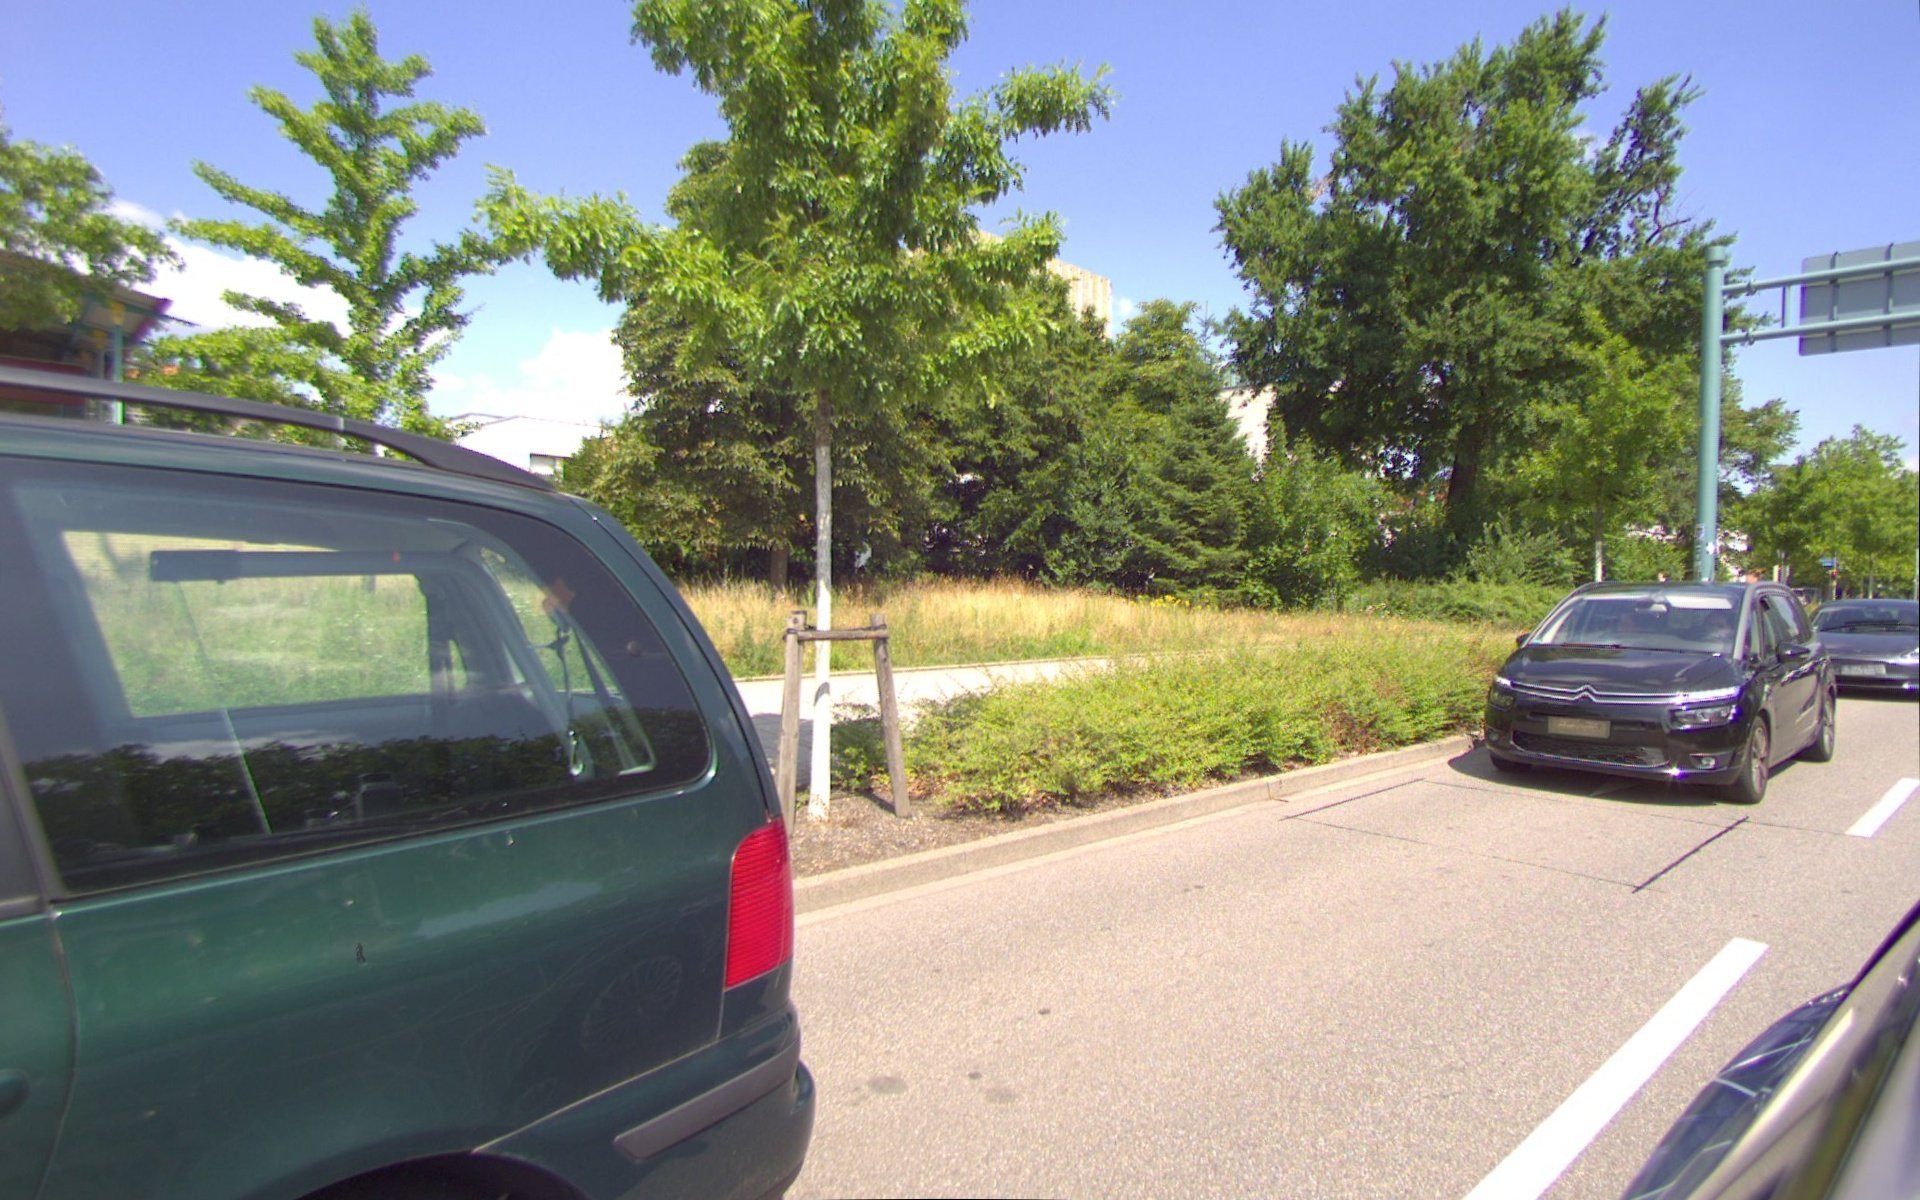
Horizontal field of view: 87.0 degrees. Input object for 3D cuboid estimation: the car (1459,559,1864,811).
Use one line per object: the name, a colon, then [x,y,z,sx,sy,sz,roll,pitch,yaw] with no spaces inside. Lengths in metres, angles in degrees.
car: [6.243,0.562,8.787,4.441,1.643,1.861,0,-1,-41]

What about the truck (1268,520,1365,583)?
truck: [18.831,-2.455,53.201,2.092,3.061,7.012,0,1,44]

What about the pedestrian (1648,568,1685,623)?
pedestrian: [23.650,-0.153,33.864,0.827,1.787,0.843,-1,0,-42]

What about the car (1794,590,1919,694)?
car: [14.393,0.582,15.675,4.290,1.435,1.762,0,-1,-44]

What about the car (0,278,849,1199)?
car: [-2.409,0.540,0.976,4.371,1.745,1.797,0,-1,-42]
